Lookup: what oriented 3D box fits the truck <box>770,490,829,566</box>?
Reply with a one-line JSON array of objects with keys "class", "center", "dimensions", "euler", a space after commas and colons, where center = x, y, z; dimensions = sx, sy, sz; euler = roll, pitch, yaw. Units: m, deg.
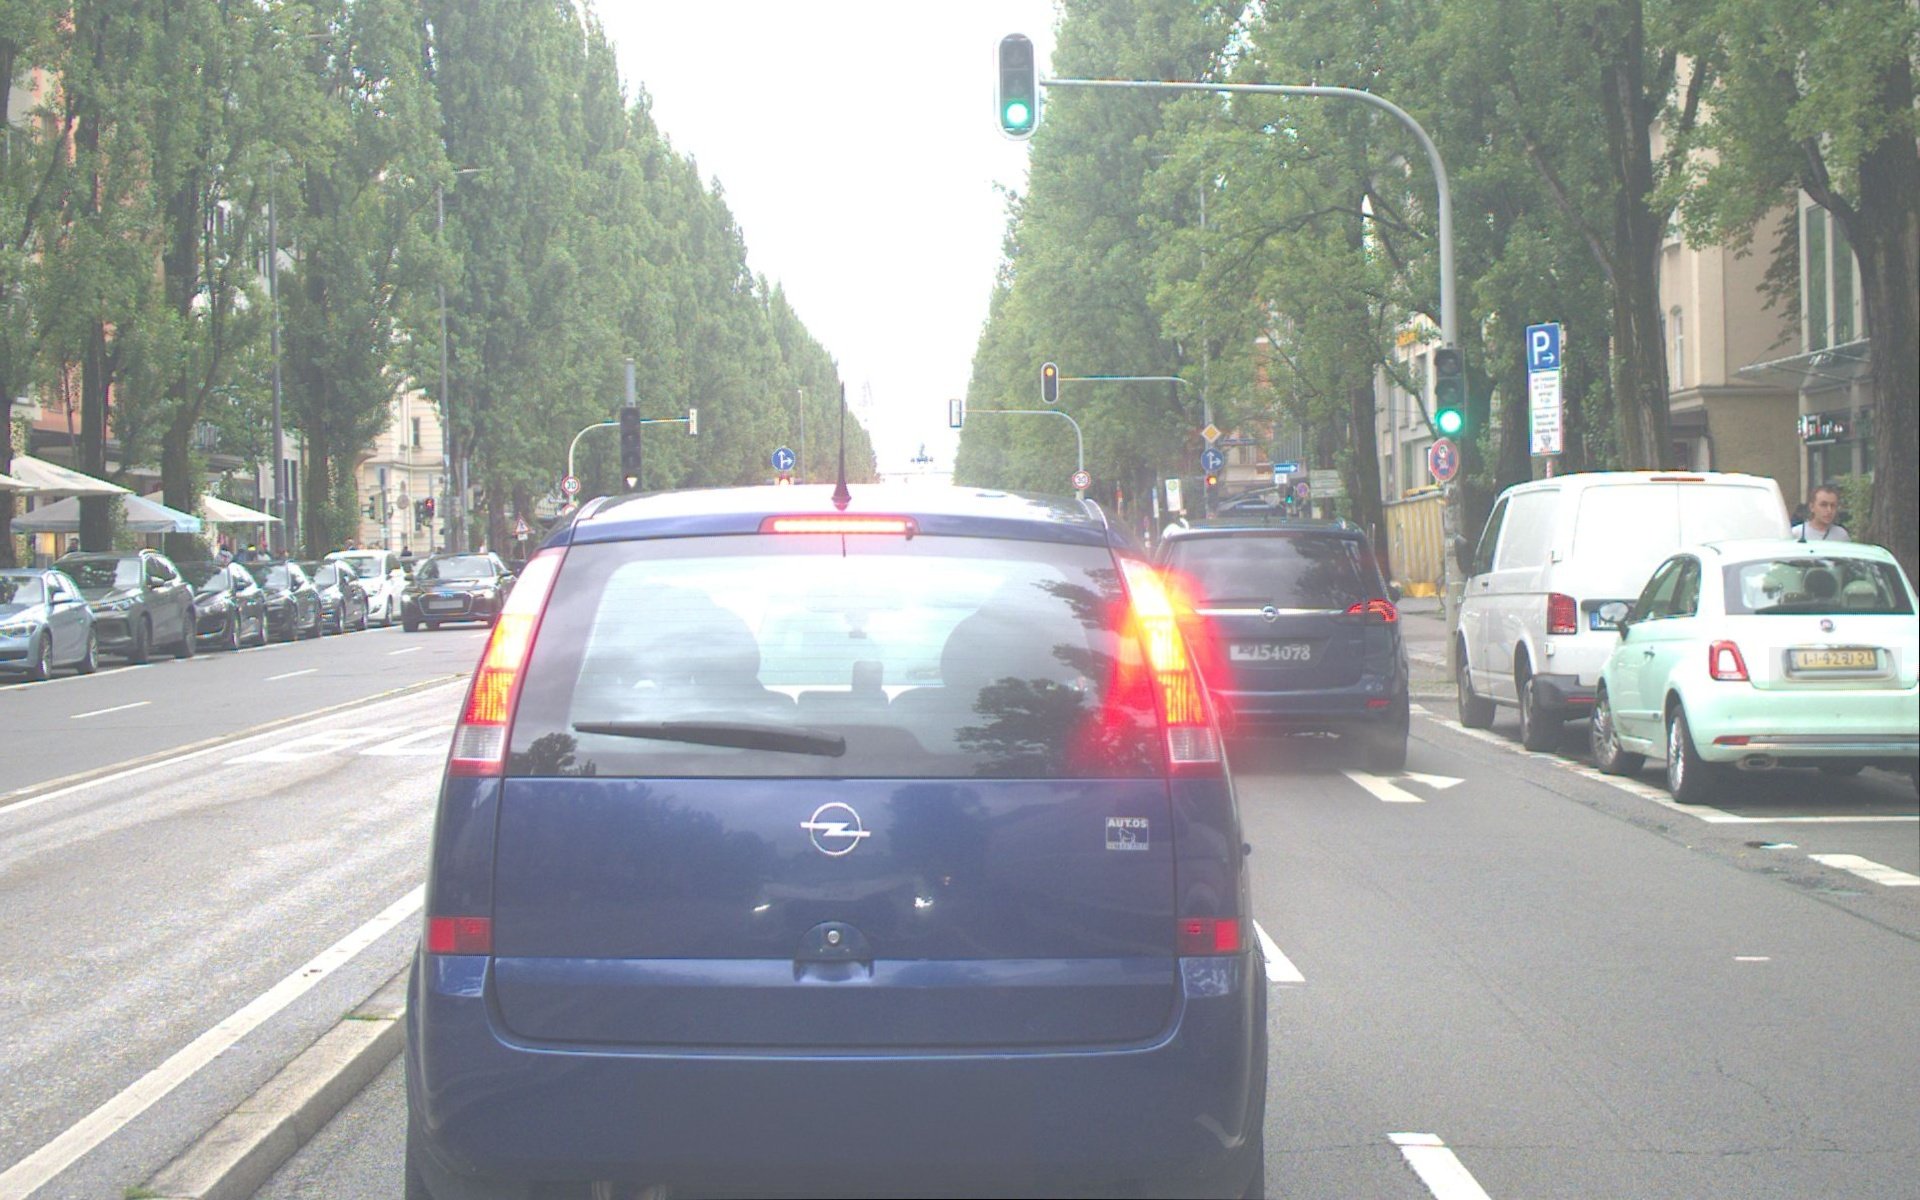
[{"class": "truck", "center": [-7.250, -3.258, 155.725], "dimensions": [2.383, 3.335, 7.111], "euler": [-1, 1, -1]}]

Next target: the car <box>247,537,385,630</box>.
[{"class": "car", "center": [-12.466, -0.348, 66.767], "dimensions": [1.866, 1.660, 4.120], "euler": [-2, 1, -1]}]

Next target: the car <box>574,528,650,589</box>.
[{"class": "car", "center": [-9.905, -1.206, 98.066], "dimensions": [1.770, 1.629, 4.456], "euler": [-2, 1, -1]}]

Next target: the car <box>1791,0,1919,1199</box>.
[{"class": "car", "center": [2.565, 0.255, 2.897], "dimensions": [2.063, 2.484, 6.731], "euler": [0, 1, 0]}]

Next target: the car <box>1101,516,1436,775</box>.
[{"class": "car", "center": [2.003, 0.243, 23.407], "dimensions": [1.896, 1.616, 4.000], "euler": [0, 1, 0]}]

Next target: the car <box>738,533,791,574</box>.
[{"class": "car", "center": [-7.157, -1.721, 126.021], "dimensions": [1.735, 1.460, 3.365], "euler": [-1, 1, -1]}]

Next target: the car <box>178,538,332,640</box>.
[{"class": "car", "center": [-12.506, -0.230, 61.240], "dimensions": [1.866, 1.660, 4.120], "euler": [-2, 1, -1]}]

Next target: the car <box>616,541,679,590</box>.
[{"class": "car", "center": [-11.079, -1.227, 121.976], "dimensions": [1.866, 1.660, 4.120], "euler": [-1, 1, -1]}]

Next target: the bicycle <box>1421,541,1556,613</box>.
[{"class": "bicycle", "center": [9.209, -0.408, 59.945], "dimensions": [2.227, 1.200, 0.626], "euler": [-1, 1, -2]}]

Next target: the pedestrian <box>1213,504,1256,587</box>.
[{"class": "pedestrian", "center": [6.106, -1.216, 76.473], "dimensions": [0.719, 1.820, 0.888], "euler": [1, 0, -10]}]

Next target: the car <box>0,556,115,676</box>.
[{"class": "car", "center": [-12.249, 0.196, 44.210], "dimensions": [1.733, 1.421, 4.144], "euler": [-2, 1, -1]}]

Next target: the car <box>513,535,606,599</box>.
[{"class": "car", "center": [-9.671, -0.813, 83.203], "dimensions": [1.745, 1.429, 4.130], "euler": [-2, 1, -1]}]

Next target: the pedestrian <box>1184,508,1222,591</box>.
[{"class": "pedestrian", "center": [5.391, -1.122, 76.290], "dimensions": [0.636, 1.820, 0.888], "euler": [1, 0, -10]}]

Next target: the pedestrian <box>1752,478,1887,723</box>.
[{"class": "pedestrian", "center": [6.342, -0.005, 25.397], "dimensions": [0.827, 1.767, 0.870], "euler": [-1, 1, 5]}]

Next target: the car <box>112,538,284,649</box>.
[{"class": "car", "center": [-12.394, -0.136, 56.133], "dimensions": [1.866, 1.660, 4.120], "euler": [-2, 1, -1]}]

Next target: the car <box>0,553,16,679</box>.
[{"class": "car", "center": [-12.222, 0.262, 39.011], "dimensions": [1.798, 1.483, 4.351], "euler": [-2, 1, -1]}]

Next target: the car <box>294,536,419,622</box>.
[{"class": "car", "center": [-12.597, -0.472, 72.027], "dimensions": [1.866, 1.660, 4.120], "euler": [-2, 1, -1]}]

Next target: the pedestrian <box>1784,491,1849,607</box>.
[{"class": "pedestrian", "center": [12.520, -0.742, 50.289], "dimensions": [0.673, 1.680, 0.759], "euler": [-2, 0, -5]}]

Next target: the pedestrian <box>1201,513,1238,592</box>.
[{"class": "pedestrian", "center": [6.070, -1.115, 80.536], "dimensions": [0.636, 1.820, 0.888], "euler": [1, 0, -10]}]

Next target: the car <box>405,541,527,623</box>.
[{"class": "car", "center": [-9.613, -0.378, 67.250], "dimensions": [1.697, 1.457, 4.713], "euler": [-2, 1, -1]}]

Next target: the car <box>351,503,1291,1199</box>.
[{"class": "car", "center": [-0.260, 0.568, 8.122], "dimensions": [1.671, 1.563, 4.000], "euler": [0, 1, 0]}]

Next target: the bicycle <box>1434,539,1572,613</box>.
[{"class": "bicycle", "center": [9.249, -0.412, 58.566], "dimensions": [2.227, 1.200, 0.626], "euler": [-1, 1, -2]}]

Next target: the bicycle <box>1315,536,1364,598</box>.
[{"class": "bicycle", "center": [8.401, -0.751, 76.204], "dimensions": [0.772, 1.344, 2.449], "euler": [-1, 1, -1]}]

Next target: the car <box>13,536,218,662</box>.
[{"class": "car", "center": [-12.200, -0.048, 49.914], "dimensions": [1.866, 1.660, 4.401], "euler": [-2, 1, -1]}]

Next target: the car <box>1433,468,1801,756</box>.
[{"class": "car", "center": [4.779, 0.035, 25.677], "dimensions": [1.787, 1.939, 4.731], "euler": [0, 1, -1]}]

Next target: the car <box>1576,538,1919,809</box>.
[{"class": "car", "center": [4.777, 0.374, 20.635], "dimensions": [1.541, 1.487, 3.523], "euler": [0, 1, 0]}]

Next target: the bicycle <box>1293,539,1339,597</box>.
[{"class": "bicycle", "center": [8.523, -0.779, 82.392], "dimensions": [0.772, 1.344, 2.449], "euler": [-1, 1, -1]}]
